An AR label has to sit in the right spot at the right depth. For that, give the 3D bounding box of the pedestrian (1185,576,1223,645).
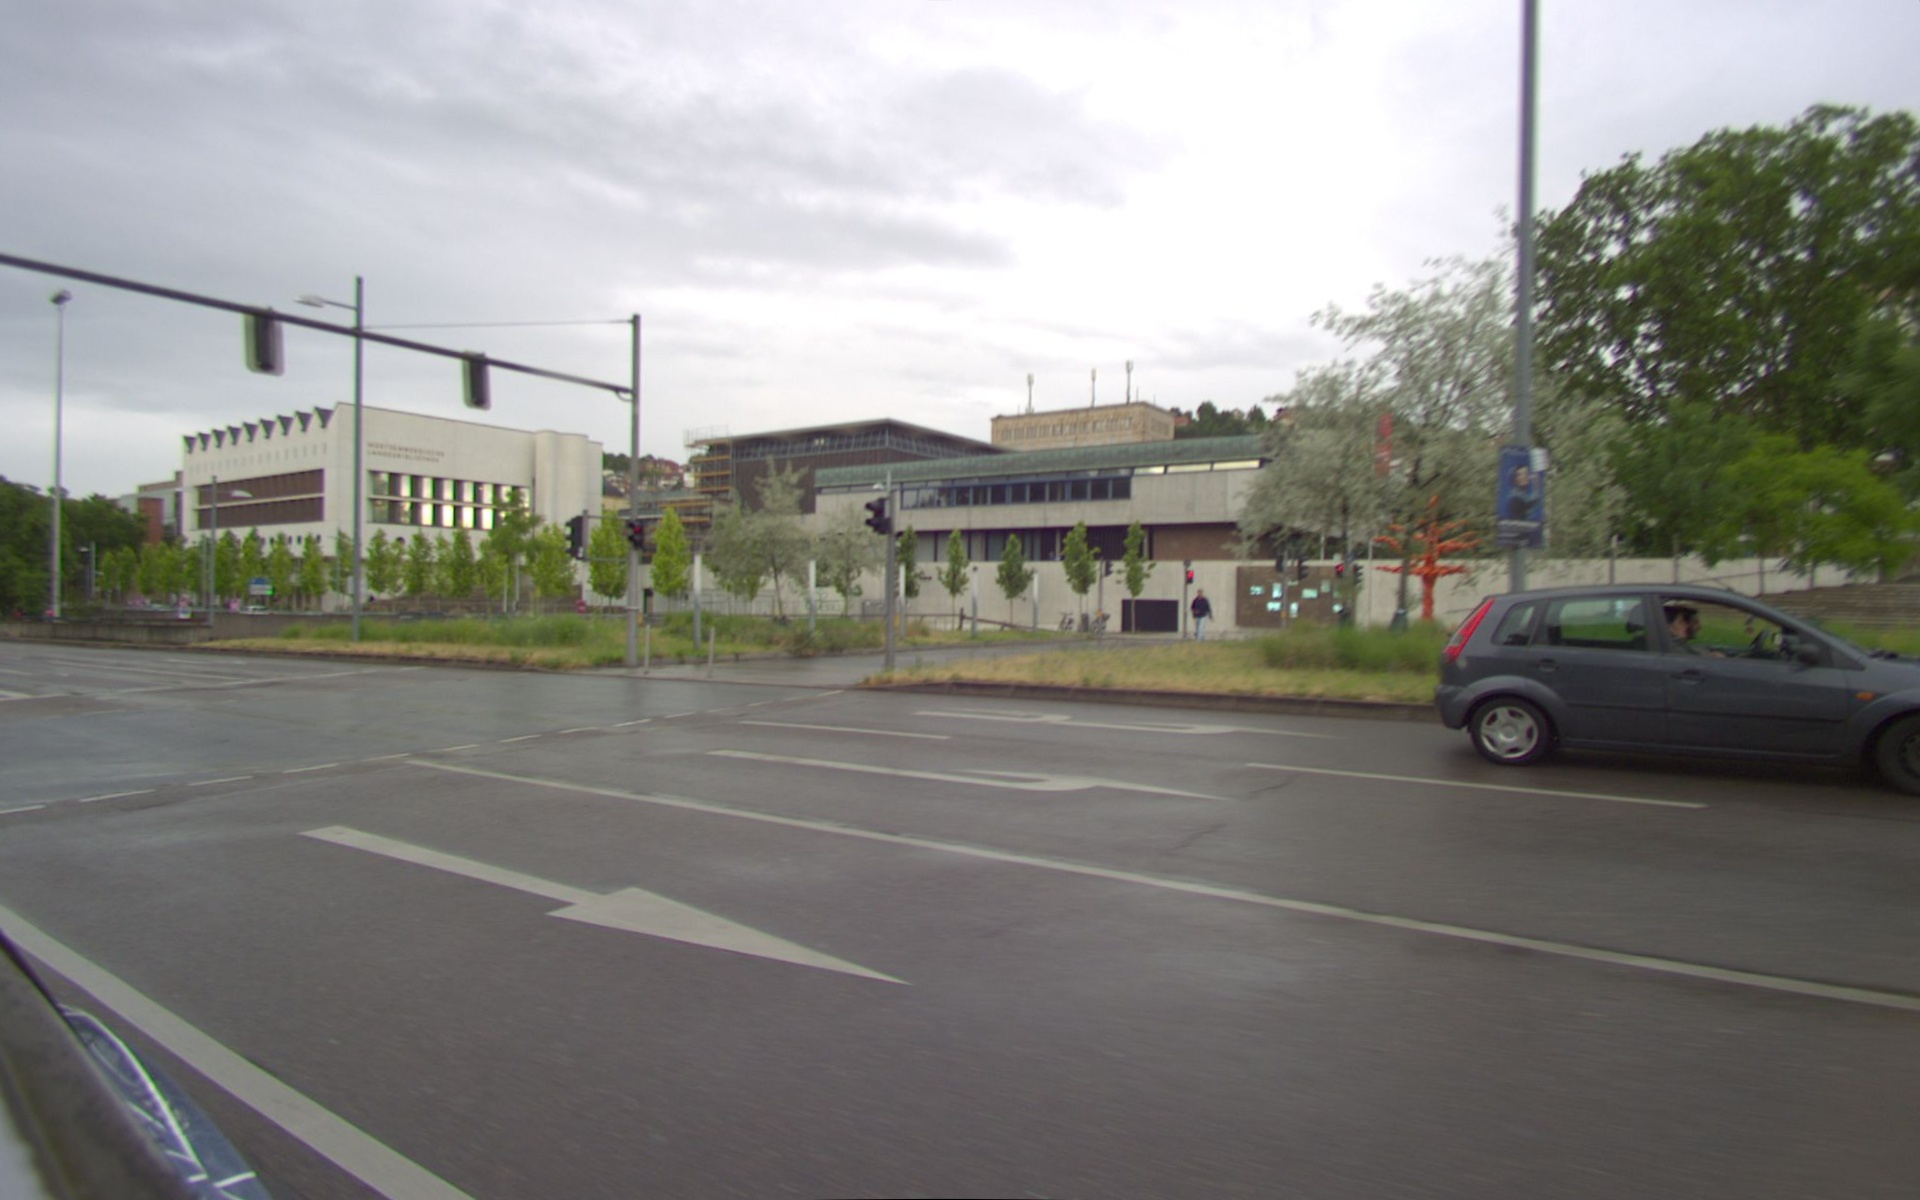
[{"bbox_3d":[7.616,0.325,31.630,0.725,2.107,0.759,-7,-3,40],"label":"pedestrian"}]

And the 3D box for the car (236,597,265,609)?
[{"bbox_3d":[-68.911,0.278,98.341,3.015,1.122,1.427,1,1,36],"label":"car"}]

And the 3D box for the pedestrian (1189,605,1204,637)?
[{"bbox_3d":[10.680,0.937,45.677,0.461,1.393,0.578,0,1,-12],"label":"pedestrian"}]

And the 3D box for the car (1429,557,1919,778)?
[{"bbox_3d":[5.839,0.419,7.729,3.893,1.426,1.529,0,1,36],"label":"car"}]

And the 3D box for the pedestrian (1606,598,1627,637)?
[{"bbox_3d":[24.568,0.642,37.873,0.631,1.433,0.488,1,1,33],"label":"pedestrian"}]

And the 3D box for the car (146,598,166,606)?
[{"bbox_3d":[-84.693,0.220,106.595,2.546,0.751,0.813,1,1,33],"label":"car"}]

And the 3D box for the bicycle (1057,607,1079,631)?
[{"bbox_3d":[5.476,0.956,51.076,0.528,1.170,1.688,1,1,28],"label":"bicycle"}]

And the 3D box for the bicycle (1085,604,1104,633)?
[{"bbox_3d":[6.518,0.880,49.079,0.554,1.317,1.470,1,1,22],"label":"bicycle"}]
